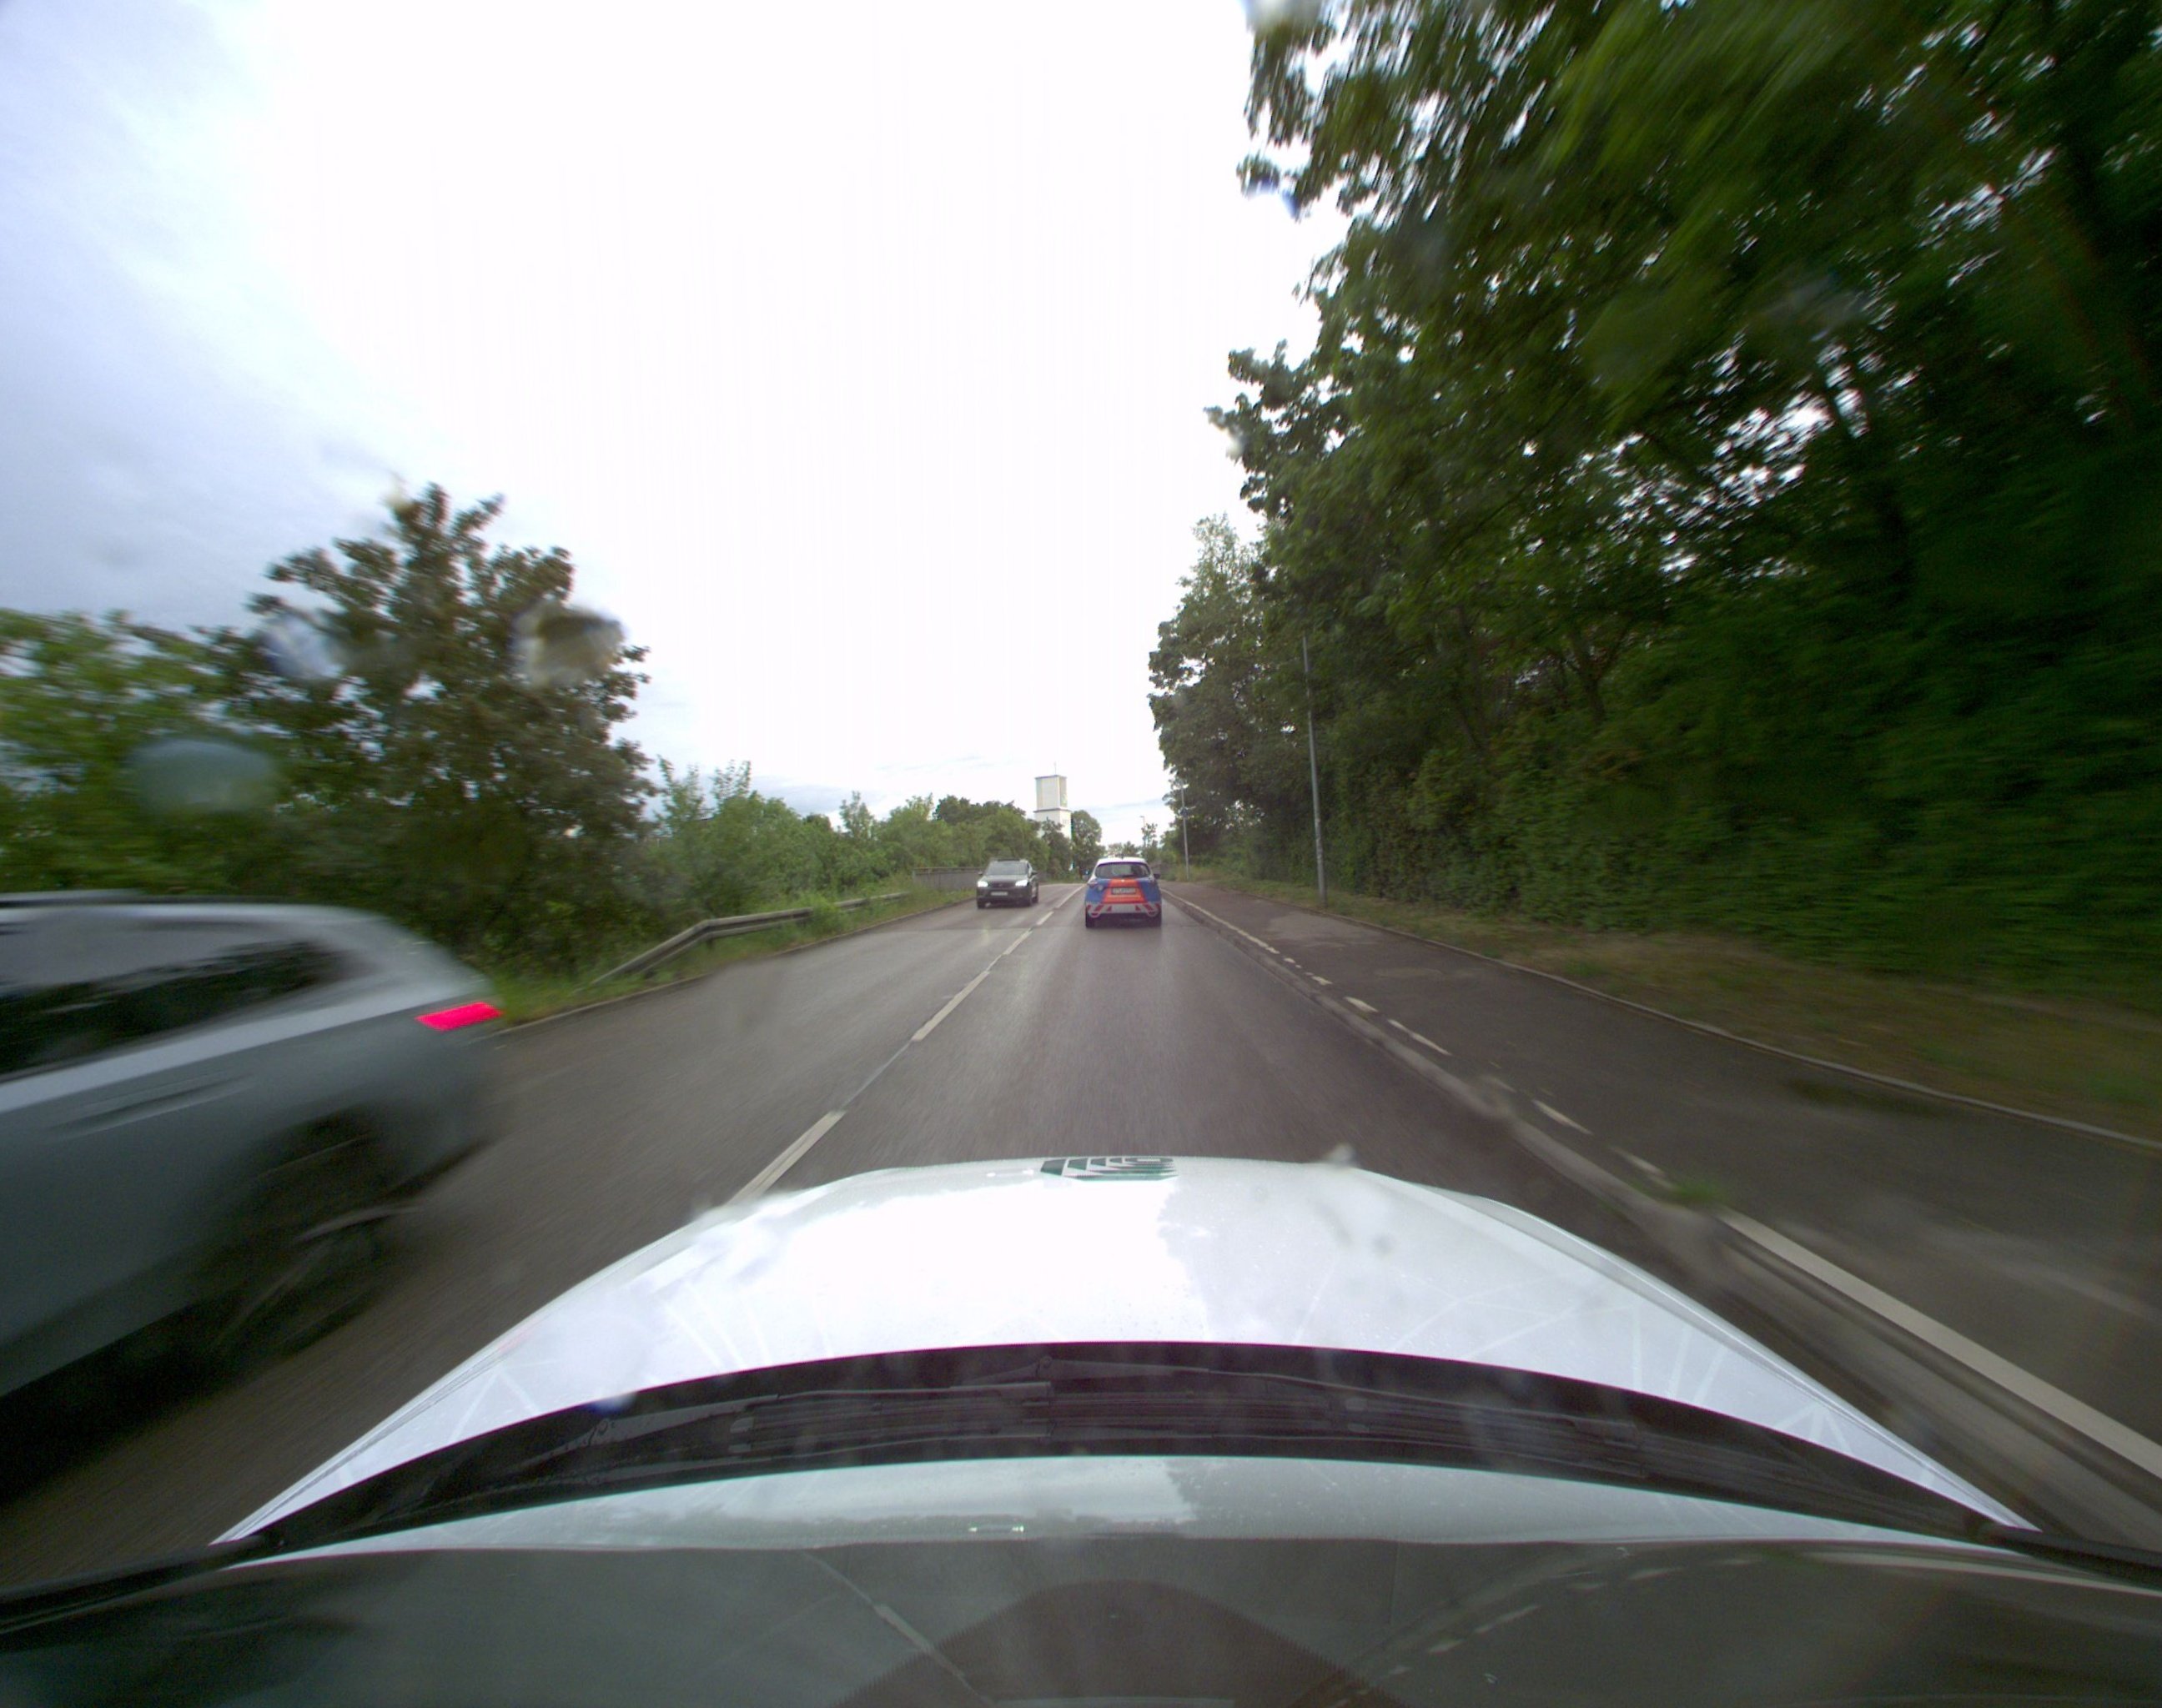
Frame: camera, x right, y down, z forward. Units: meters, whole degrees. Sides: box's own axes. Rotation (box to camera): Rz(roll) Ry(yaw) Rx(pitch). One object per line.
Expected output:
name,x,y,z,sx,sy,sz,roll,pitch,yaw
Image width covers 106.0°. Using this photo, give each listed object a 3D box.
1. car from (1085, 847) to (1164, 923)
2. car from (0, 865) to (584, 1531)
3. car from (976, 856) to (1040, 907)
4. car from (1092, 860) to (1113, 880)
car,0.994,0.695,19.302,1.651,1.593,3.569,-2,-1,2
car,-3.444,0.840,1.623,1.855,1.503,4.730,-2,0,1
car,-2.489,0.914,28.620,1.724,1.585,4.081,-2,0,1
car,1.953,1.435,73.119,1.795,1.590,3.564,-4,-1,2
